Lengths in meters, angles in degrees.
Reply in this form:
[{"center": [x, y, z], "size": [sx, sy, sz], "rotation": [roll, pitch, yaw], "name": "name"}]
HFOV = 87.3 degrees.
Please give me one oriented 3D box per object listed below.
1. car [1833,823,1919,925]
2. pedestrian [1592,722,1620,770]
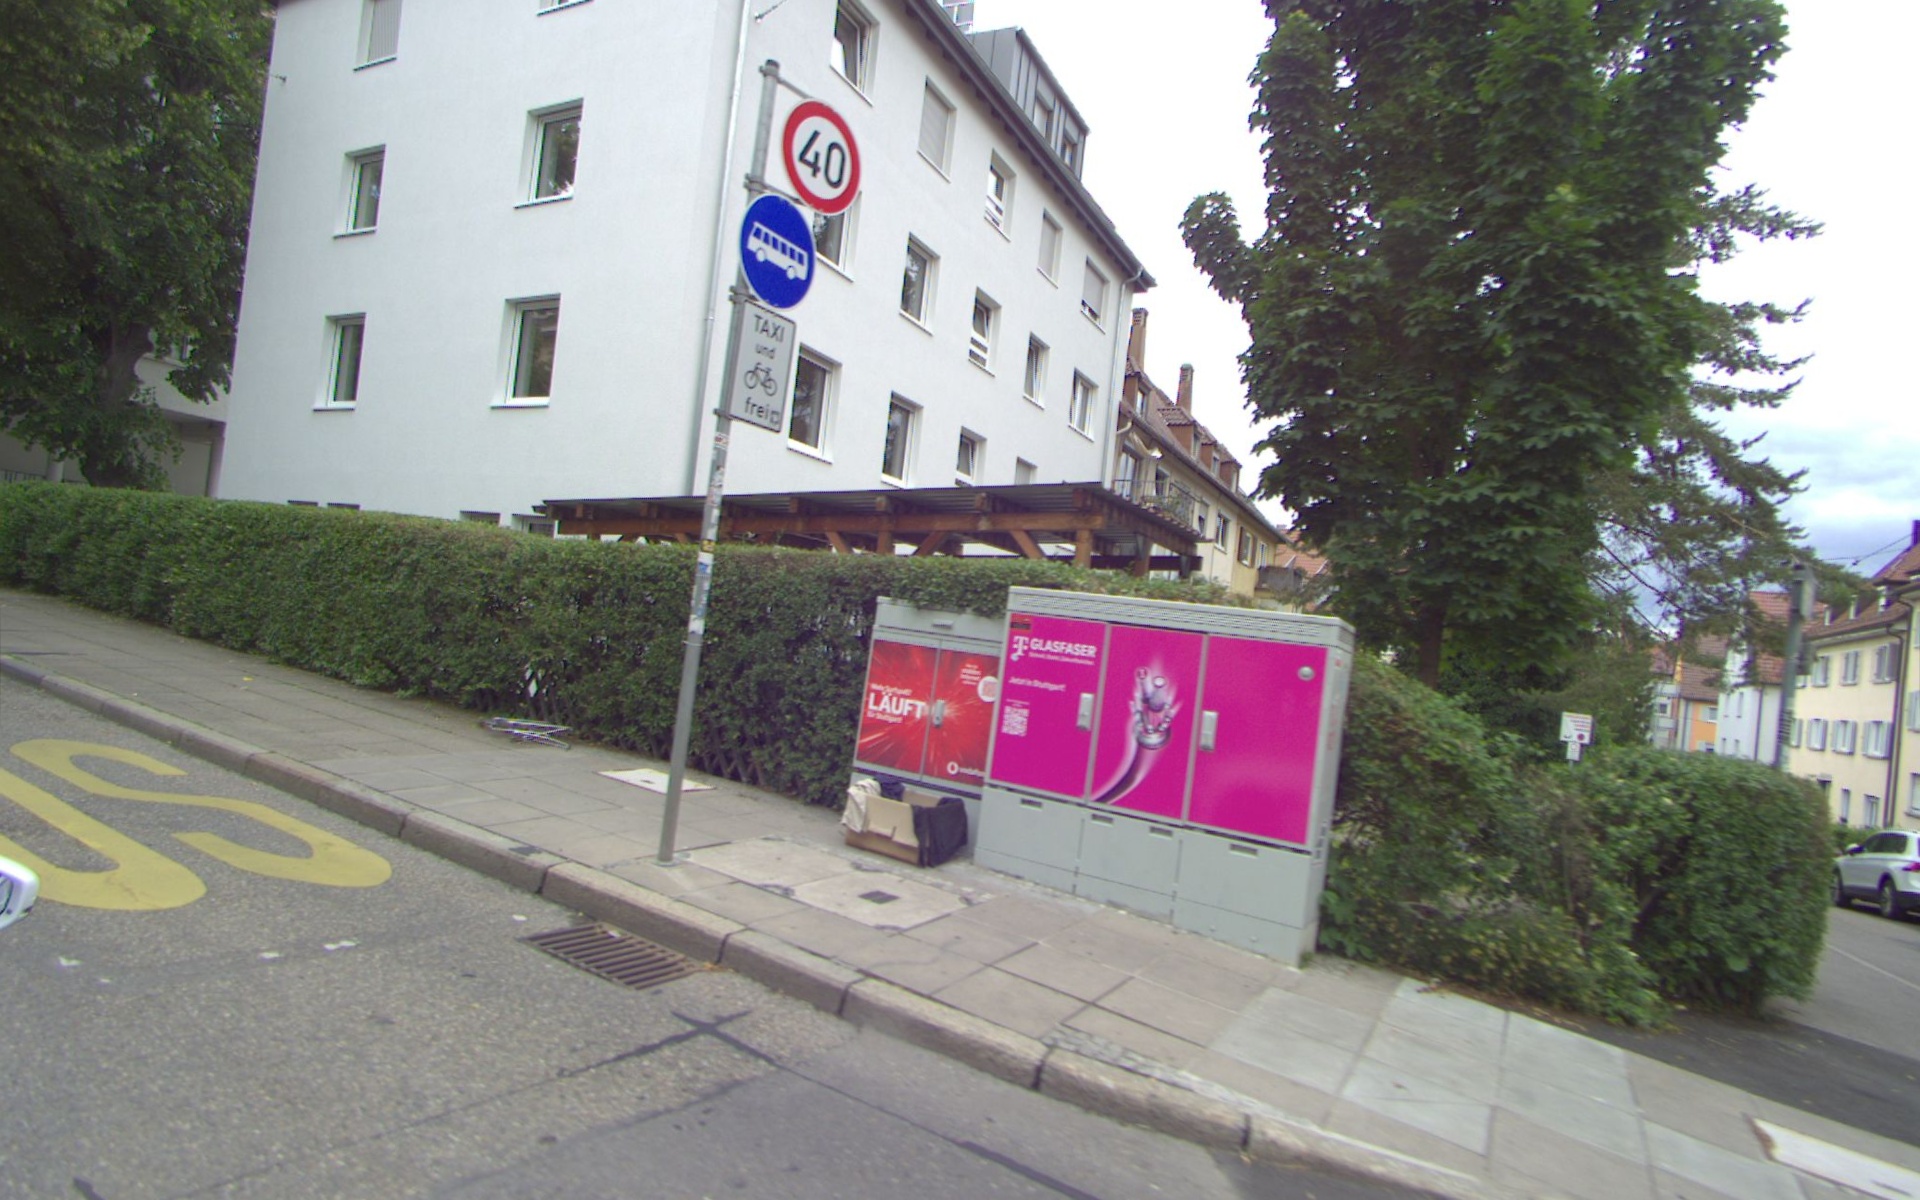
[{"center": [17.769, 5.116, 18.506], "size": [1.749, 1.625, 3.760], "rotation": [7, -7, 30], "name": "car"}, {"center": [29.395, 6.640, 45.757], "size": [0.867, 2.036, 0.722], "rotation": [7, -3, 34], "name": "pedestrian"}]
